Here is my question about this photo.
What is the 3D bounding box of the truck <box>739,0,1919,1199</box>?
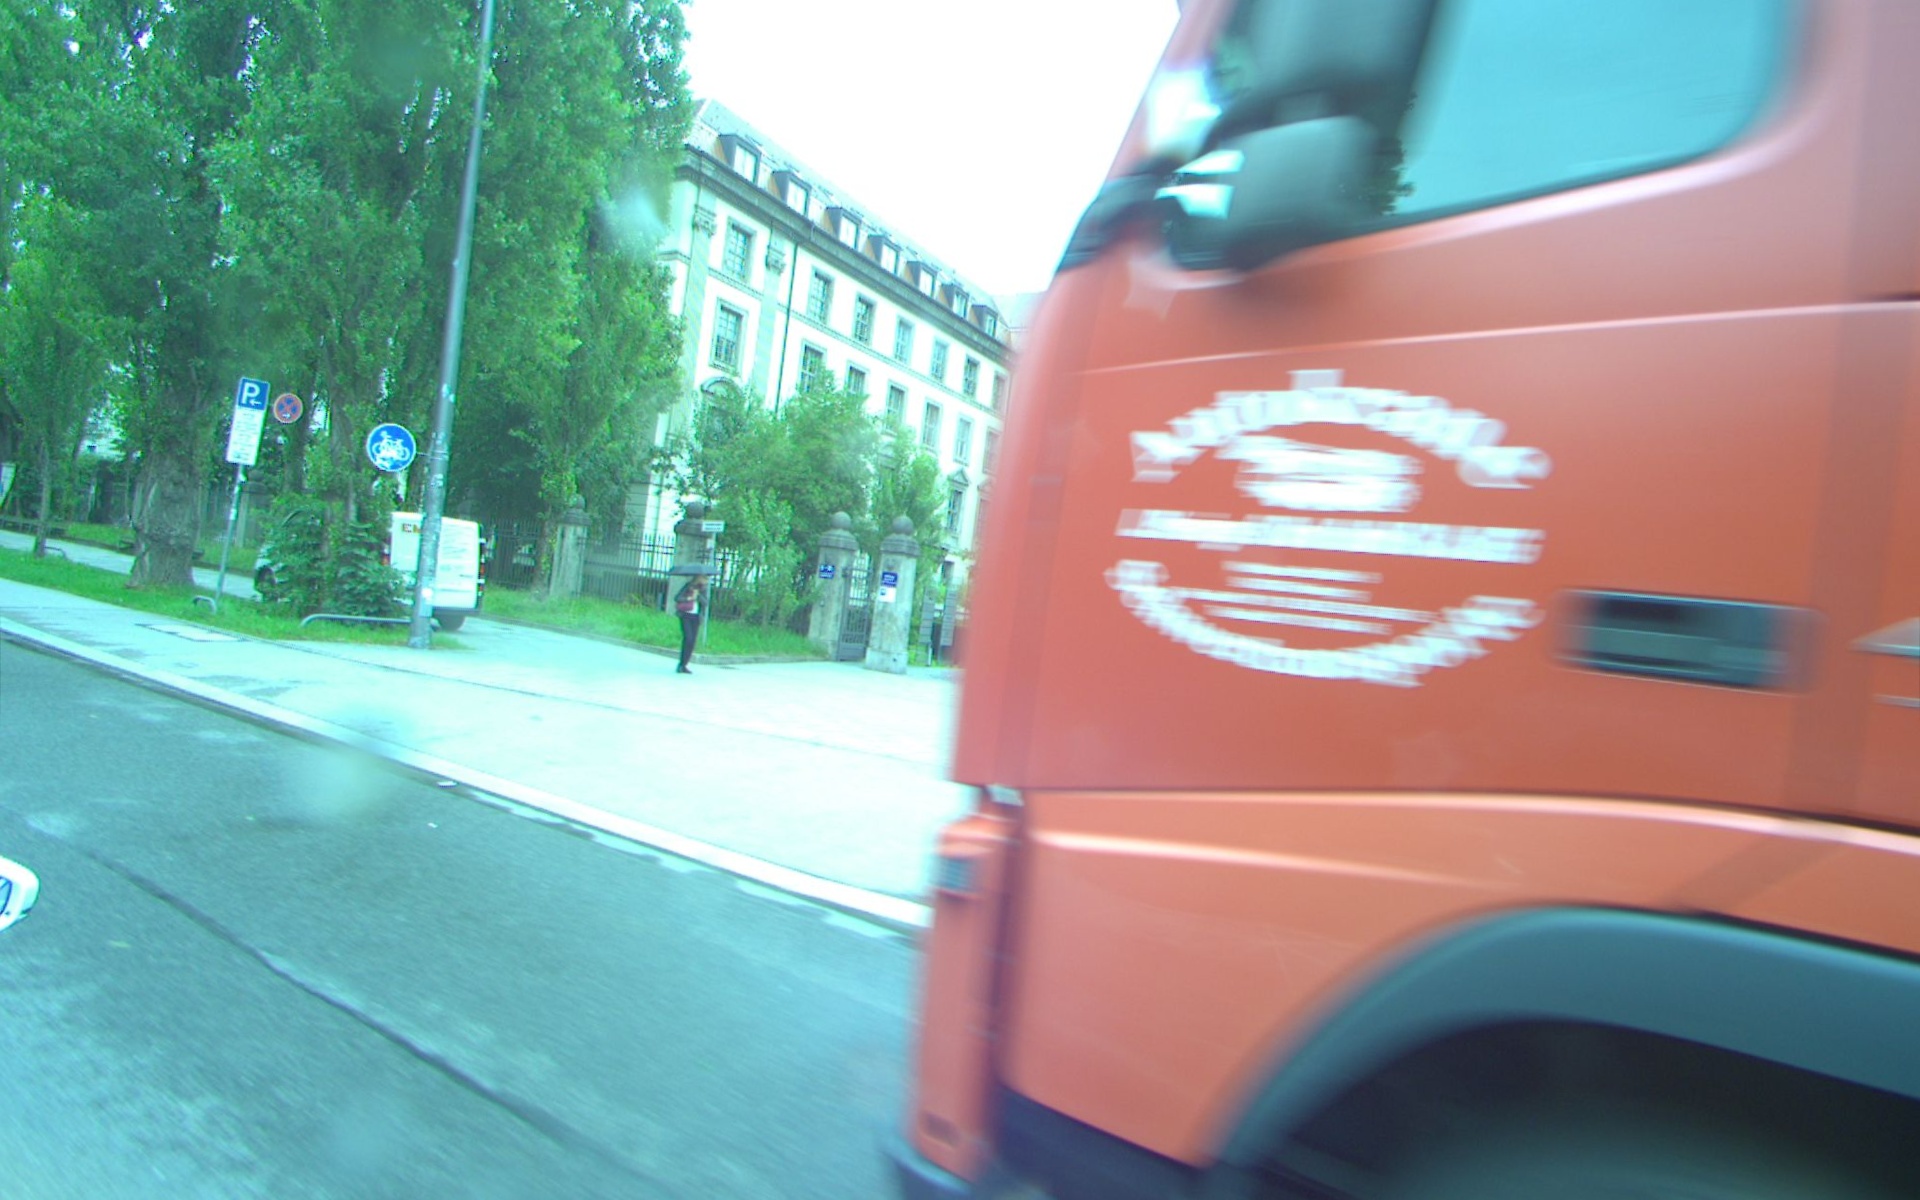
[{"bbox_3d":[4.829,0.262,0.259,10.106,3.607,2.850,7,-1,31],"label":"truck"}]

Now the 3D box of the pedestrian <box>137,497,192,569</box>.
[{"bbox_3d":[-21.782,-1.830,27.547,0.880,1.790,0.796,7,0,32],"label":"pedestrian"}]

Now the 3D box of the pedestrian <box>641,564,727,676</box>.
[{"bbox_3d":[-4.320,0.316,15.735,0.827,1.628,0.773,7,0,34],"label":"pedestrian"}]

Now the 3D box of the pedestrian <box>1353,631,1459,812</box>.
[{"bbox_3d":[4.640,1.234,10.448,0.742,1.715,0.717,7,1,31],"label":"pedestrian"}]

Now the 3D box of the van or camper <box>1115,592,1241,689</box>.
[{"bbox_3d":[7.296,1.423,33.249,2.212,2.739,5.217,7,0,31],"label":"van or camper"}]

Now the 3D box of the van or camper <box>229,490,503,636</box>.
[{"bbox_3d":[-10.786,-0.702,18.161,4.954,1.956,1.979,7,-1,31],"label":"van or camper"}]

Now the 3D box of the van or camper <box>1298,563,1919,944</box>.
[{"bbox_3d":[5.457,1.075,7.771,4.902,2.037,2.008,7,-1,30],"label":"van or camper"}]
